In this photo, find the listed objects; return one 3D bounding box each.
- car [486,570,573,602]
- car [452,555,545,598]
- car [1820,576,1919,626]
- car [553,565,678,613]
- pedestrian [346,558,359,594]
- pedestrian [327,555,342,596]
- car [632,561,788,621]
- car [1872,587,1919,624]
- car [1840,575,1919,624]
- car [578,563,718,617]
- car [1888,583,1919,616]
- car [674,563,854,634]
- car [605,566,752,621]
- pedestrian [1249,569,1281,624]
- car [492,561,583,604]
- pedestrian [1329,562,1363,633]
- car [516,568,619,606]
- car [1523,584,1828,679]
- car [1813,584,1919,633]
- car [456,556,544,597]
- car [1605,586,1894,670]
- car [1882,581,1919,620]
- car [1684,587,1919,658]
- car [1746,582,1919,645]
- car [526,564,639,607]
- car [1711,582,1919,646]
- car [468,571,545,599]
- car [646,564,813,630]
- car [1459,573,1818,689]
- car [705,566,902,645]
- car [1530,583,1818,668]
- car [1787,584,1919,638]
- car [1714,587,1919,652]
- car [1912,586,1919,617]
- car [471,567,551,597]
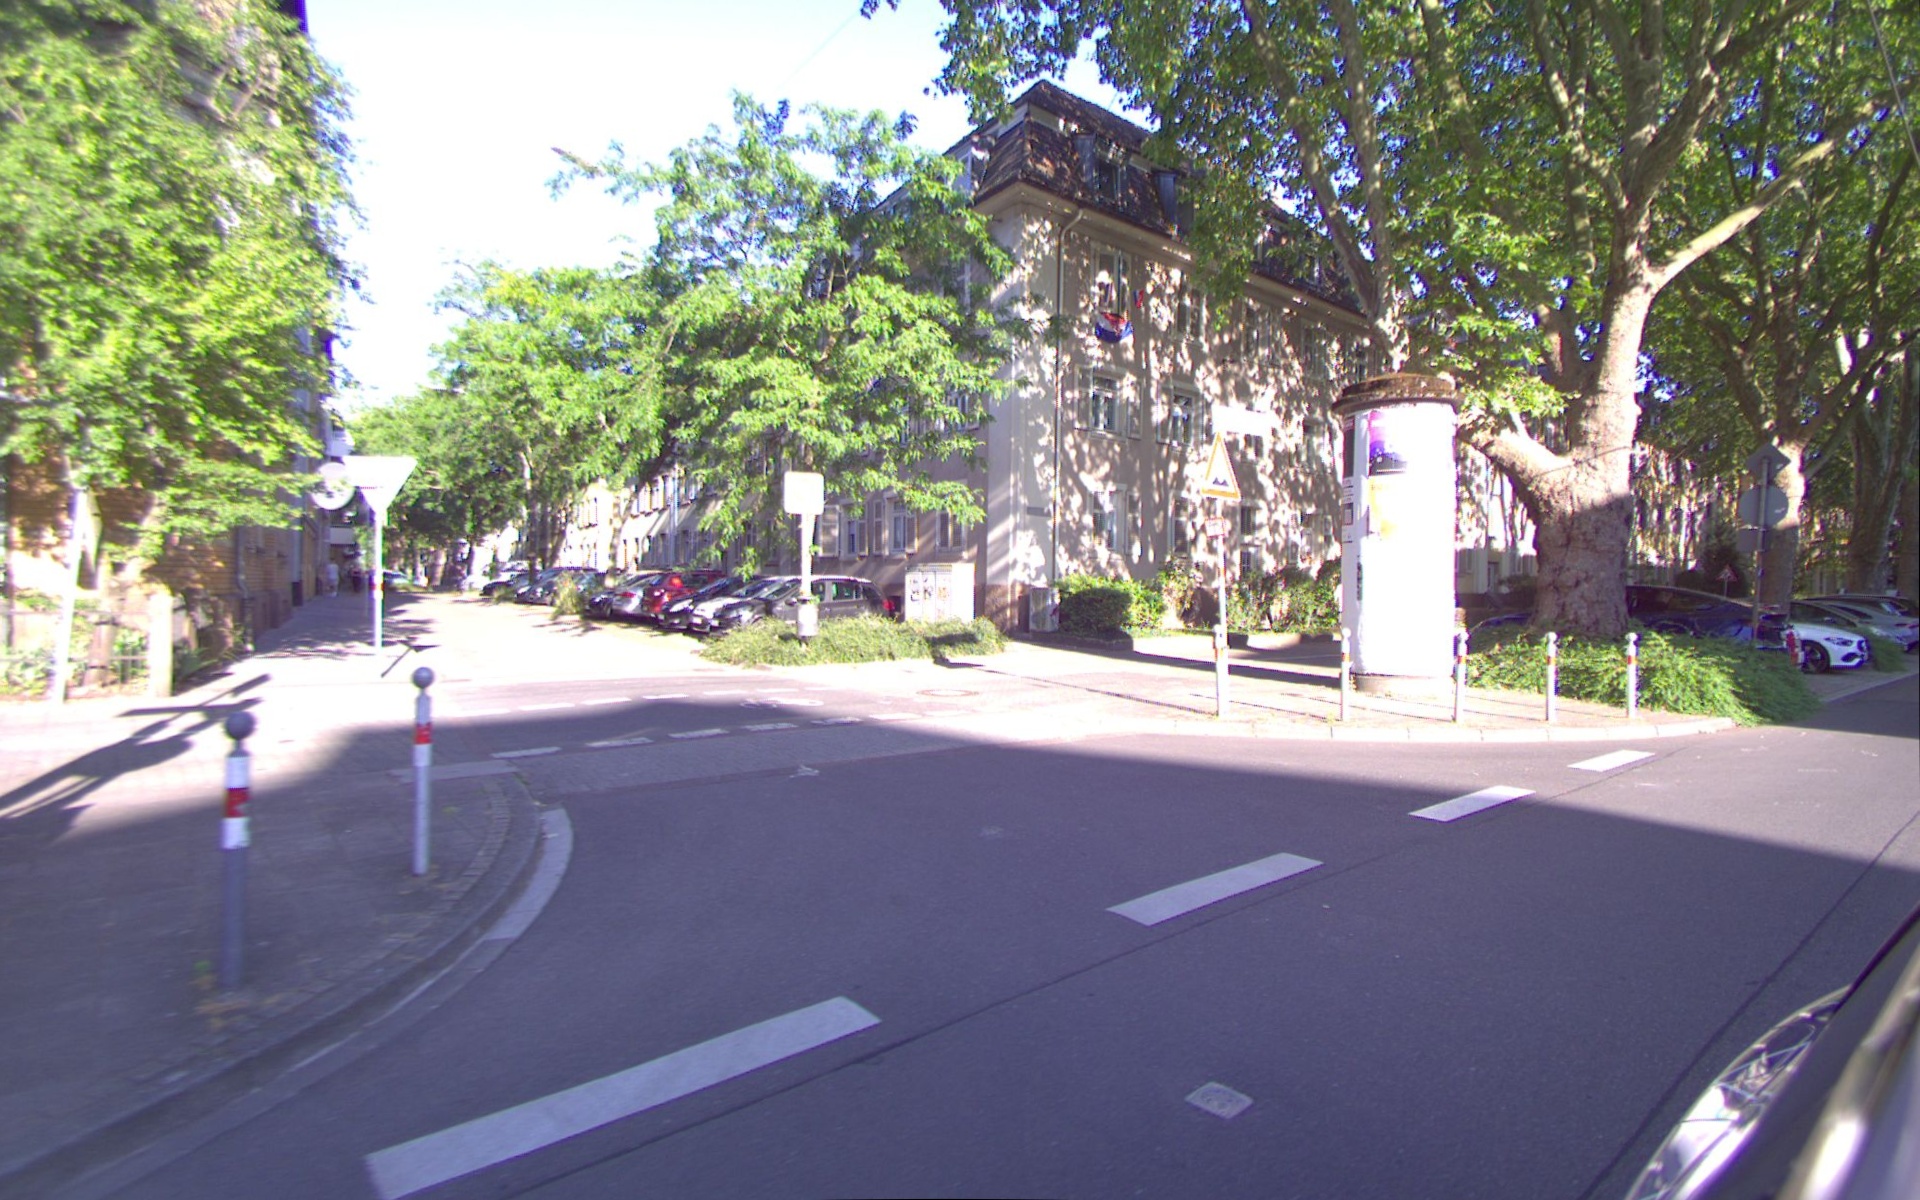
[{"bbox_3d":[-22.023,-0.719,51.814,3.921,1.602,1.732,0,1,-31],"label":"car"},{"bbox_3d":[-29.555,-1.508,64.874,5.198,2.642,2.145,0,1,-31],"label":"car"},{"bbox_3d":[36.131,0.069,38.705,1.858,1.814,4.614,1,1,-37],"label":"car"},{"bbox_3d":[-12.175,-0.396,35.856,3.921,1.602,1.732,0,1,-31],"label":"car"},{"bbox_3d":[-29.804,-1.164,49.673,0.512,1.770,0.490,0,1,-34],"label":"pedestrian"},{"bbox_3d":[-27.159,-1.050,43.923,0.512,1.770,0.926,0,1,-34],"label":"pedestrian"},{"bbox_3d":[-6.998,-0.263,28.414,3.921,1.602,1.732,0,1,-31],"label":"car"},{"bbox_3d":[44.918,0.300,46.174,1.858,1.661,4.614,1,1,-37],"label":"car"},{"bbox_3d":[40.588,0.002,42.905,1.858,2.038,4.639,1,1,-37],"label":"car"},{"bbox_3d":[-9.851,-0.318,31.978,3.921,1.602,1.732,0,1,-31],"label":"car"},{"bbox_3d":[51.977,0.038,53.044,1.858,1.736,4.614,1,1,-37],"label":"car"},{"bbox_3d":[-4.718,-0.055,24.444,3.921,1.602,1.732,0,1,-31],"label":"car"},{"bbox_3d":[-8.423,-0.213,30.340,3.921,1.554,1.732,0,1,-31],"label":"car"},{"bbox_3d":[8.718,-0.103,28.935,0.628,1.548,0.621,0,0,-11],"label":"pedestrian"},{"bbox_3d":[-20.853,-0.872,49.947,3.921,2.019,1.802,0,2,-31],"label":"car"},{"bbox_3d":[9.905,-0.074,25.965,0.630,1.790,0.620,1,1,4],"label":"pedestrian"},{"bbox_3d":[-17.020,-0.558,43.903,3.921,1.602,1.732,0,1,-31],"label":"car"},{"bbox_3d":[13.282,0.506,18.994,1.860,1.462,4.363,1,1,-42],"label":"car"},{"bbox_3d":[34.375,0.324,36.960,1.858,1.661,4.614,1,1,-37],"label":"car"},{"bbox_3d":[-31.001,-1.576,68.305,5.198,2.642,2.145,0,1,-31],"label":"car"},{"bbox_3d":[16.948,0.524,21.951,1.858,1.513,4.614,1,1,-37],"label":"car"},{"bbox_3d":[46.712,0.088,47.615,1.858,1.814,4.614,1,1,-37],"label":"car"},{"bbox_3d":[21.532,0.507,25.818,1.858,1.513,4.614,1,1,-37],"label":"car"},{"bbox_3d":[26.475,0.366,30.040,1.858,1.661,4.614,1,1,-37],"label":"car"},{"bbox_3d":[-14.915,-0.579,40.003,3.921,1.602,1.732,0,1,-31],"label":"car"},{"bbox_3d":[24.708,0.349,29.139,1.858,1.585,4.614,1,1,-37],"label":"car"},{"bbox_3d":[-26.462,-0.865,59.061,3.921,1.602,1.732,0,1,-31],"label":"car"},{"bbox_3d":[-6.010,-0.092,26.501,3.921,1.602,1.732,0,1,-31],"label":"car"},{"bbox_3d":[11.499,0.415,17.474,1.859,1.651,4.809,1,1,-40],"label":"car"},{"bbox_3d":[-3.423,0.088,22.264,3.921,1.602,1.732,0,1,-31],"label":"car"},{"bbox_3d":[14.636,0.453,20.994,1.858,1.462,4.511,1,1,-37],"label":"car"},{"bbox_3d":[31.333,0.364,34.424,1.858,1.661,4.614,1,1,-37],"label":"car"},{"bbox_3d":[23.323,0.479,27.156,1.858,1.513,4.614,1,1,-37],"label":"car"},{"bbox_3d":[55.722,0.187,55.659,1.858,1.736,4.614,1,1,-37],"label":"car"},{"bbox_3d":[-25.243,-1.019,56.943,3.921,1.602,1.732,0,1,-31],"label":"car"}]
